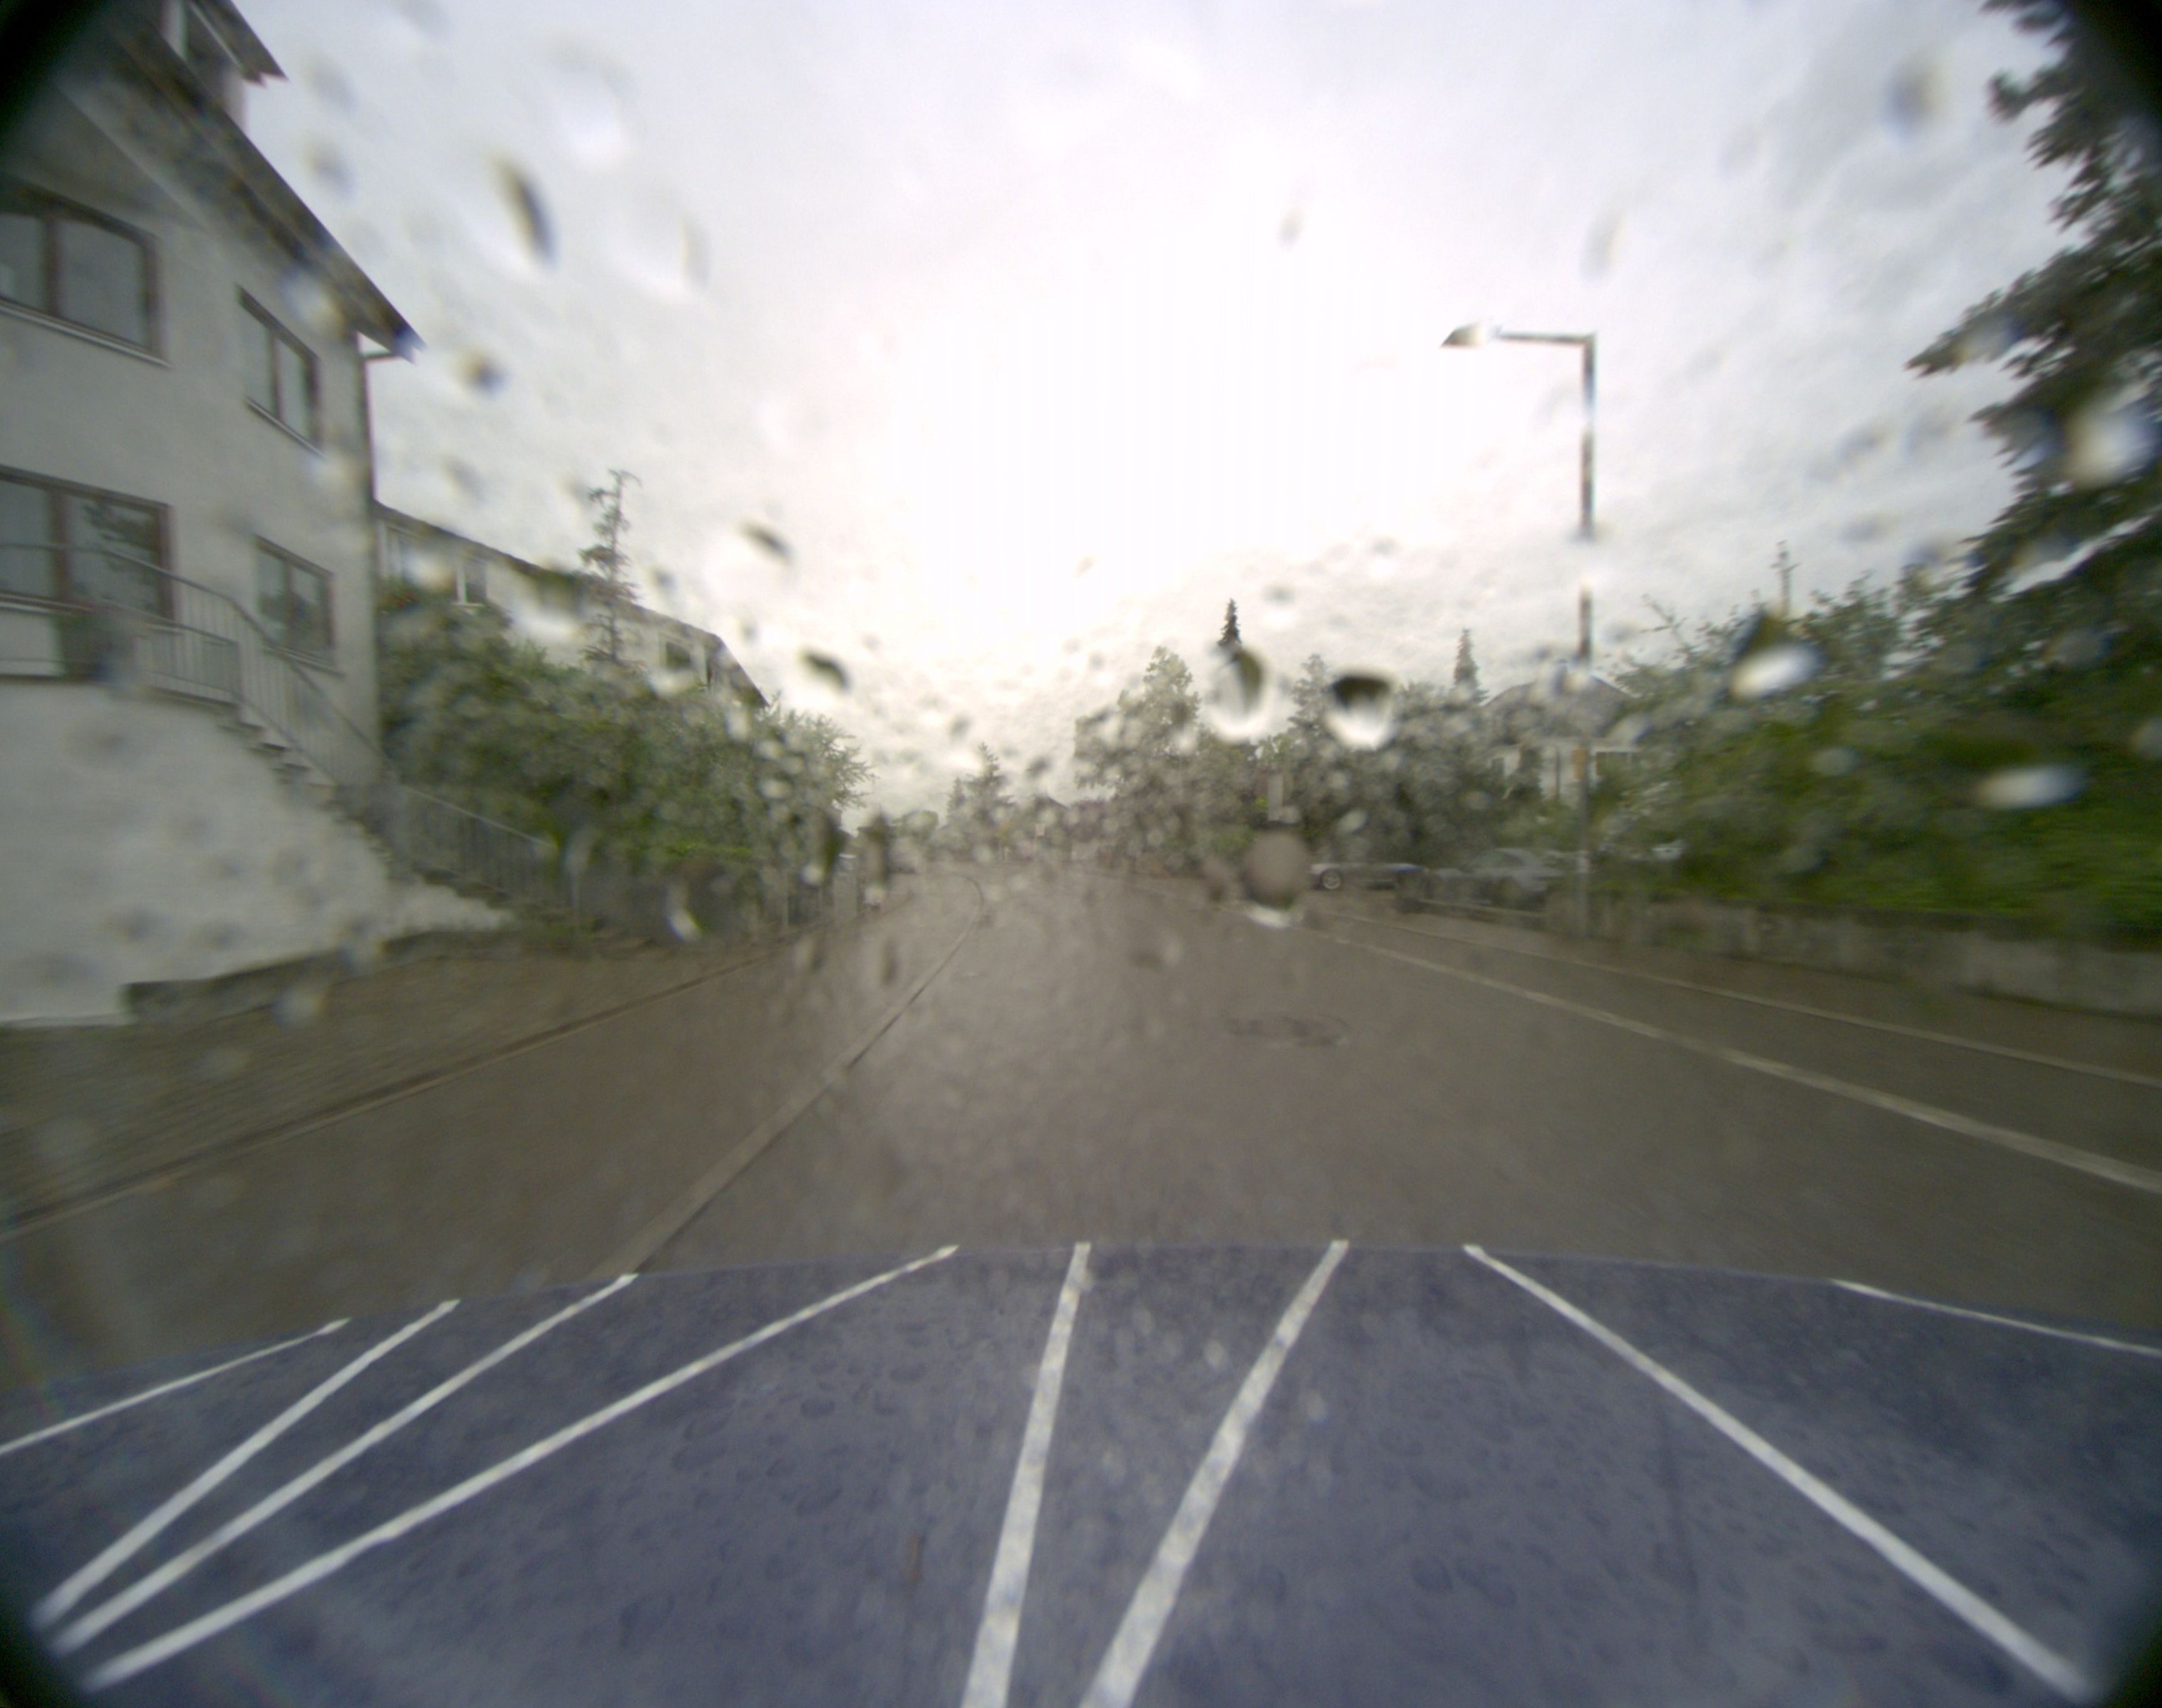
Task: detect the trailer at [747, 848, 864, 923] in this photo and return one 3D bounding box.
[{"bbox_3d":[-6.985,0.755,19.494,2.361,1.738,1.998,-1,1,-7],"label":"trailer"}]

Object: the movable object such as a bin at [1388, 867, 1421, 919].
[{"bbox_3d":[6.391,0.768,15.035,0.371,0.982,0.558,-1,1,-6],"label":"movable object such as a bin"}]

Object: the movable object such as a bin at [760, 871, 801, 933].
[{"bbox_3d":[-5.317,0.836,13.450,0.493,1.040,0.576,-1,1,-3],"label":"movable object such as a bin"}]

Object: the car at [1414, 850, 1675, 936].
[{"bbox_3d":[8.360,0.603,14.312,1.999,1.300,4.431,-1,1,-4],"label":"car"}]

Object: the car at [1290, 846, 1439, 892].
[{"bbox_3d":[8.859,0.443,24.005,3.997,1.264,1.873,-2,1,0],"label":"car"}]

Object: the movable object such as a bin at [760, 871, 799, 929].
[{"bbox_3d":[-5.641,0.851,14.222,0.493,1.040,0.576,-1,1,-3],"label":"movable object such as a bin"}]

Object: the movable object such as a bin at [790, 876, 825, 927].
[{"bbox_3d":[-5.130,0.876,14.260,0.493,0.917,0.457,-1,1,-3],"label":"movable object such as a bin"}]

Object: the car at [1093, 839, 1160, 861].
[{"bbox_3d":[3.317,-0.307,55.556,4.558,1.467,1.836,-2,1,-18],"label":"car"}]

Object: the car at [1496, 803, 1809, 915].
[{"bbox_3d":[11.051,0.045,15.415,1.999,1.833,5.475,-1,1,-3],"label":"car"}]
